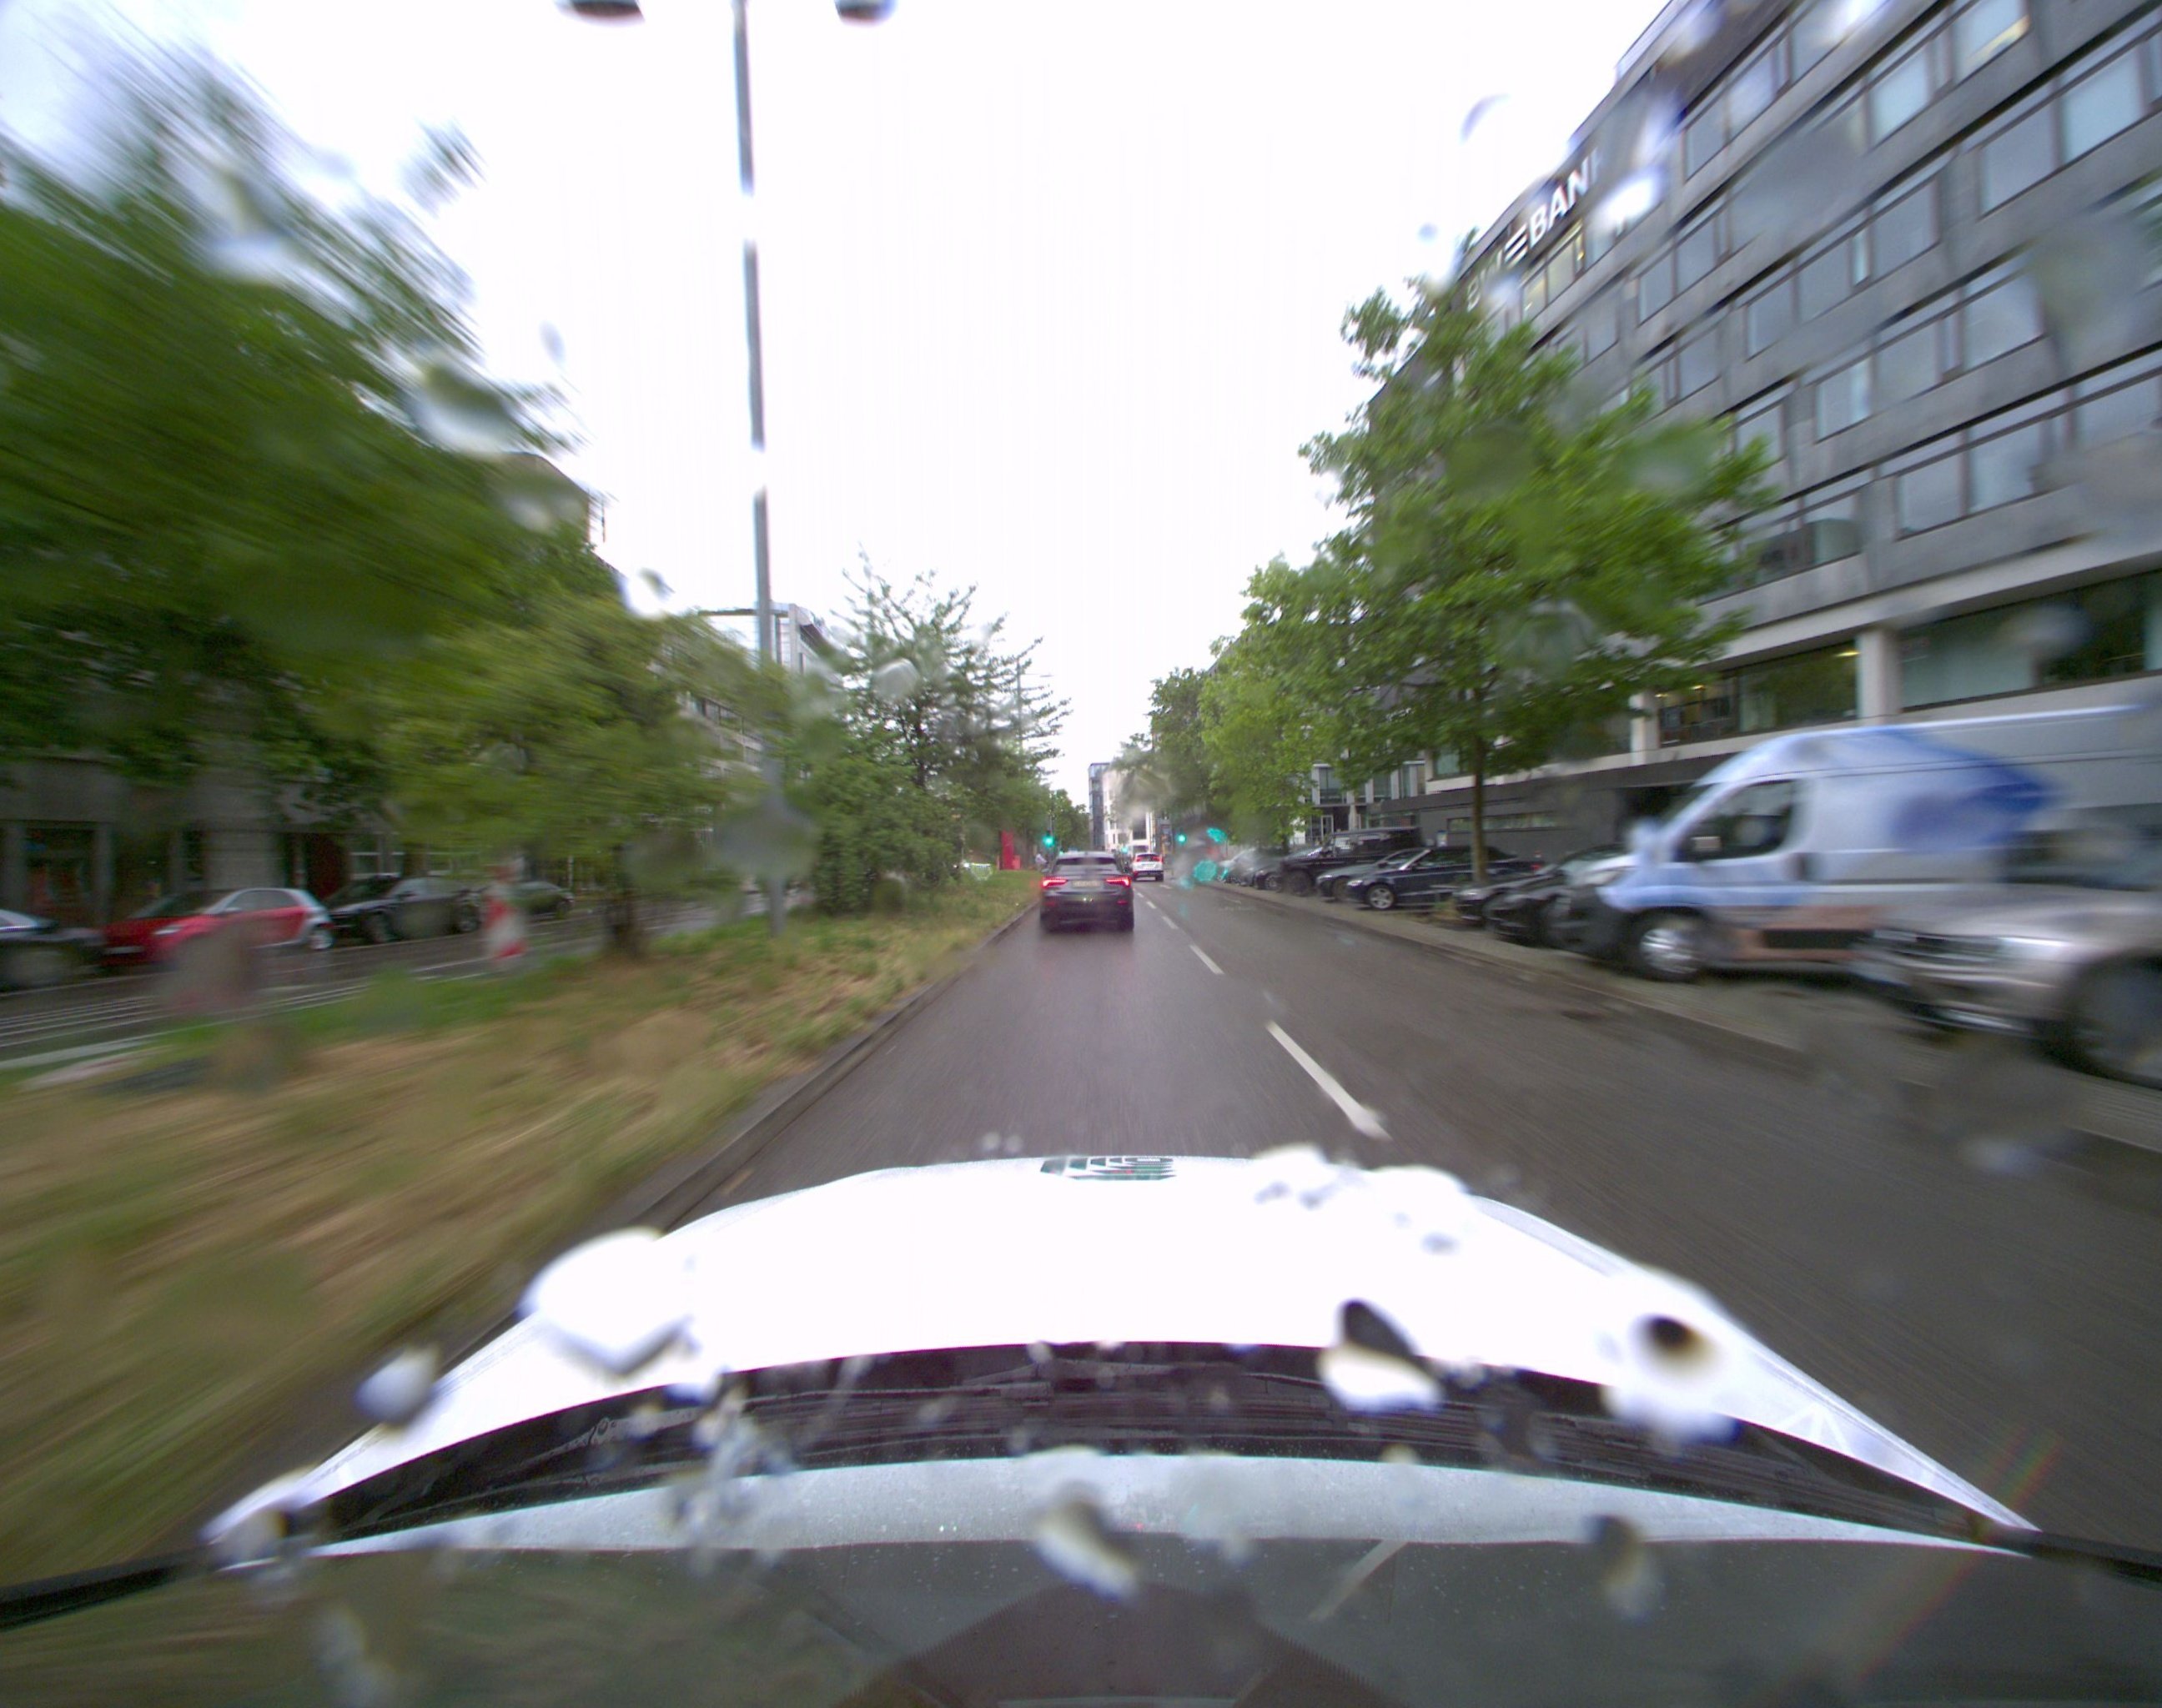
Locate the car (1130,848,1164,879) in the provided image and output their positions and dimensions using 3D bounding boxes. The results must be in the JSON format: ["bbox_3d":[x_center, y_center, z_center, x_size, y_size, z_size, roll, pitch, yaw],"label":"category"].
[{"bbox_3d":[3.825,0.547,47.995,1.842,1.669,4.041,-1,0,3],"label":"car"}]

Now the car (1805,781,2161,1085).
[{"bbox_3d":[7.290,0.409,4.779,4.216,1.667,1.829,-1,0,28],"label":"car"}]

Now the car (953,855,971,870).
[{"bbox_3d":[-15.718,1.061,107.541,1.990,1.826,3.994,-4,0,-5],"label":"car"}]

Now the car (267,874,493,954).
[{"bbox_3d":[-18.391,1.486,21.757,1.763,1.652,4.841,-5,0,-1],"label":"car"}]

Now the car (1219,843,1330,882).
[{"bbox_3d":[8.392,0.381,35.382,4.252,1.488,1.855,-3,0,31],"label":"car"}]

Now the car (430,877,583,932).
[{"bbox_3d":[-18.906,1.611,27.121,1.763,1.394,4.651,-5,0,-2],"label":"car"}]

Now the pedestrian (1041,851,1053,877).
[{"bbox_3d":[-2.381,0.729,56.955,0.657,1.793,0.753,-1,-1,14],"label":"pedestrian"}]

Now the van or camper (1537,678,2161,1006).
[{"bbox_3d":[7.894,-0.070,7.878,6.008,2.558,2.118,-2,-1,29],"label":"van or camper"}]

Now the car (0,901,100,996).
[{"bbox_3d":[-18.137,1.615,11.939,1.763,1.434,4.671,-5,0,0],"label":"car"}]

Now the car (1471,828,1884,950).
[{"bbox_3d":[7.968,0.466,11.461,4.346,1.436,1.953,-2,0,28],"label":"car"}]

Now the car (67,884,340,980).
[{"bbox_3d":[-17.939,1.514,16.933,1.682,1.519,3.623,-5,0,-2],"label":"car"}]

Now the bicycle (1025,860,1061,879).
[{"bbox_3d":[-2.422,0.984,52.343,2.246,1.162,0.751,1,-1,1],"label":"bicycle"}]

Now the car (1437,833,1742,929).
[{"bbox_3d":[8.469,0.460,13.963,4.160,1.436,1.731,-2,-1,28],"label":"car"}]

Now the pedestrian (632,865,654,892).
[{"bbox_3d":[-27.647,1.568,51.402,0.991,1.645,0.676,-2,0,-3],"label":"pedestrian"}]

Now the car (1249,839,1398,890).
[{"bbox_3d":[8.239,0.366,27.696,4.511,1.507,1.880,-3,0,26],"label":"car"}]

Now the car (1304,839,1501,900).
[{"bbox_3d":[8.492,0.424,21.632,4.578,1.394,1.859,-3,-1,30],"label":"car"}]

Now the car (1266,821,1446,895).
[{"bbox_3d":[8.363,0.150,24.856,4.890,1.978,1.941,-3,0,28],"label":"car"}]

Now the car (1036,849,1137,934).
[{"bbox_3d":[0.167,0.686,17.122,1.842,1.523,4.040,-1,0,2],"label":"car"}]

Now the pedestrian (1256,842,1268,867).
[{"bbox_3d":[15.267,0.057,68.634,0.929,2.115,1.079,-1,-1,14],"label":"pedestrian"}]

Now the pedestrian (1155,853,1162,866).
[{"bbox_3d":[11.620,0.829,122.464,0.853,2.014,0.975,-1,-1,-3],"label":"pedestrian"}]

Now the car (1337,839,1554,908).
[{"bbox_3d":[8.322,0.451,18.739,4.323,1.436,1.772,-2,-1,28],"label":"car"}]

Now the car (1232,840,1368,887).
[{"bbox_3d":[8.257,0.360,30.777,4.738,1.534,1.877,-3,0,16],"label":"car"}]

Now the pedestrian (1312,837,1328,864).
[{"bbox_3d":[16.081,-0.231,54.769,0.639,1.783,0.769,-5,-2,-6],"label":"pedestrian"}]

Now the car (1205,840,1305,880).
[{"bbox_3d":[8.253,0.301,38.640,4.177,1.669,1.850,-3,0,29],"label":"car"}]

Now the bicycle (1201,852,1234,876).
[{"bbox_3d":[8.437,0.621,50.381,1.970,1.415,0.728,-1,-1,10],"label":"bicycle"}]

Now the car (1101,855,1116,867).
[{"bbox_3d":[3.563,0.876,103.994,1.842,1.523,4.041,-1,0,3],"label":"car"}]

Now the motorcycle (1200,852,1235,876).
[{"bbox_3d":[8.129,0.603,48.367,2.015,1.415,0.728,-1,-1,10],"label":"motorcycle"}]

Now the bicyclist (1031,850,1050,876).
[{"bbox_3d":[-2.619,0.558,52.358,1.100,1.622,0.751,1,-1,1],"label":"bicyclist"}]

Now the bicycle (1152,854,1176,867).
[{"bbox_3d":[8.567,0.703,84.447,2.334,1.312,0.708,-1,0,-5],"label":"bicycle"}]

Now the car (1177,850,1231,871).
[{"bbox_3d":[9.496,0.510,62.883,3.815,1.568,1.678,-2,-1,44],"label":"car"}]

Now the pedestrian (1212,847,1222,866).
[{"bbox_3d":[15.401,0.251,92.169,0.929,2.115,1.079,-1,-1,14],"label":"pedestrian"}]
